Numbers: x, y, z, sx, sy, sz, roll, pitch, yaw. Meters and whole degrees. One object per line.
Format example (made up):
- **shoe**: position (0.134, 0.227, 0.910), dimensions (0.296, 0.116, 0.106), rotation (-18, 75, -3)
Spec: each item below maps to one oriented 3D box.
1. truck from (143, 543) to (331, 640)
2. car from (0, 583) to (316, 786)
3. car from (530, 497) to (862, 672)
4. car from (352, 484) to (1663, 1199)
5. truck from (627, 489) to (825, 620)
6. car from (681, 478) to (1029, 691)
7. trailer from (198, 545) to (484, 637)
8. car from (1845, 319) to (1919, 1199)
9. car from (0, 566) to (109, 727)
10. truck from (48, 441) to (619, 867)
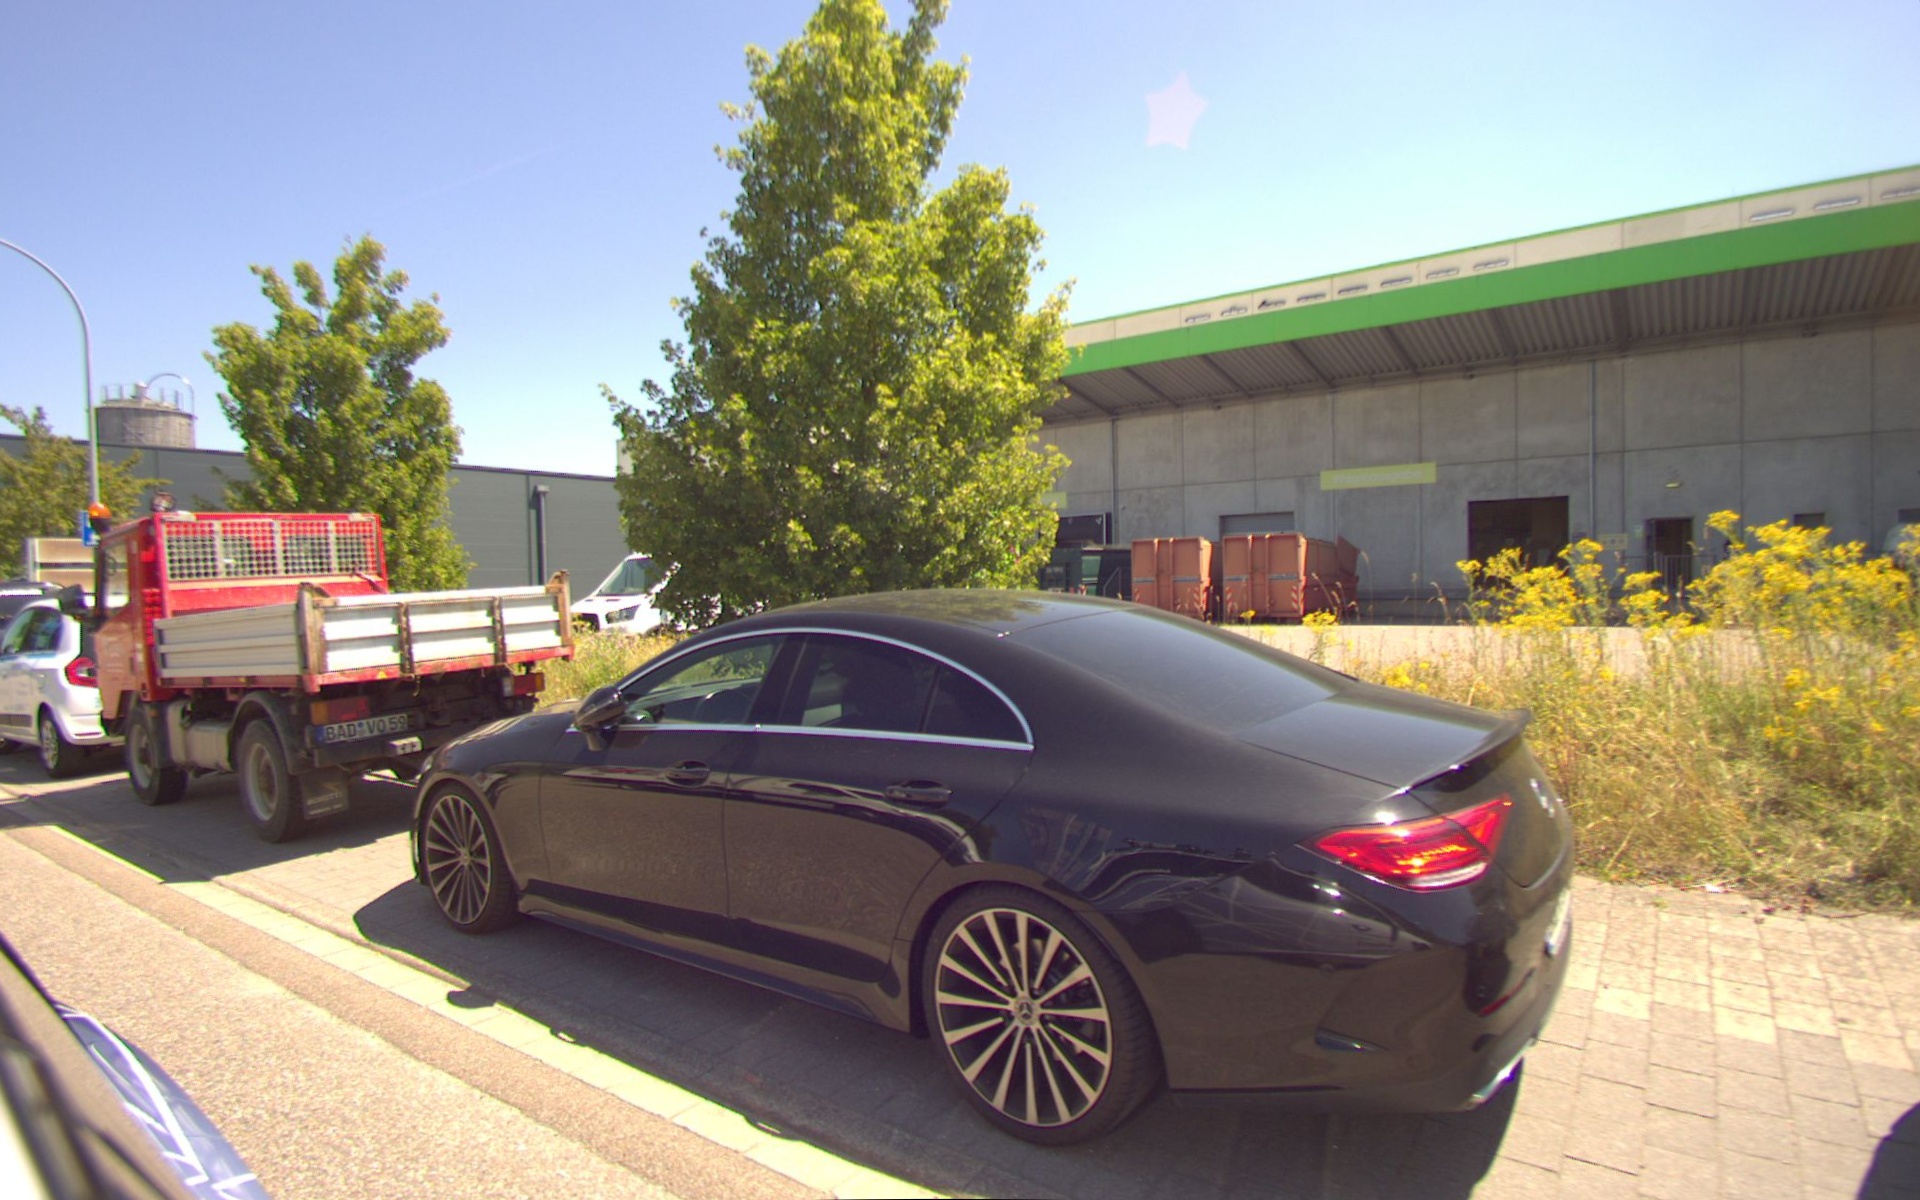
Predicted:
- **truck**: position (-32.057, -0.389, 45.137), dimensions (3.138, 4.000, 6.005), rotation (-1, 1, 24)
- **car**: position (-8.247, 0.694, 9.972), dimensions (3.757, 1.562, 1.836), rotation (-1, 2, 35)
- **car**: position (-4.821, -0.353, 19.556), dimensions (2.515, 2.845, 5.923), rotation (-1, 2, 35)
- **car**: position (-0.248, 0.532, 3.841), dimensions (4.744, 1.454, 1.835), rotation (-1, 1, 37)
- **truck**: position (-7.994, -1.469, 35.242), dimensions (3.213, 4.118, 6.050), rotation (-1, 0, 37)
- **car**: position (-1.489, -0.313, 17.130), dimensions (2.515, 2.947, 5.923), rotation (-1, 2, 35)
- **trailer**: position (-29.873, -0.529, 50.032), dimensions (3.138, 4.000, 12.437), rotation (-1, 1, 24)
- **car**: position (3.995, 0.317, 0.666), dimensions (4.978, 1.771, 1.835), rotation (-1, 3, 37)
- **car**: position (-13.748, 0.605, 13.833), dimensions (5.392, 1.914, 1.956), rotation (-1, 2, 37)
- **truck**: position (-4.750, 0.268, 7.412), dimensions (4.636, 2.239, 1.835), rotation (-1, 2, 36)
